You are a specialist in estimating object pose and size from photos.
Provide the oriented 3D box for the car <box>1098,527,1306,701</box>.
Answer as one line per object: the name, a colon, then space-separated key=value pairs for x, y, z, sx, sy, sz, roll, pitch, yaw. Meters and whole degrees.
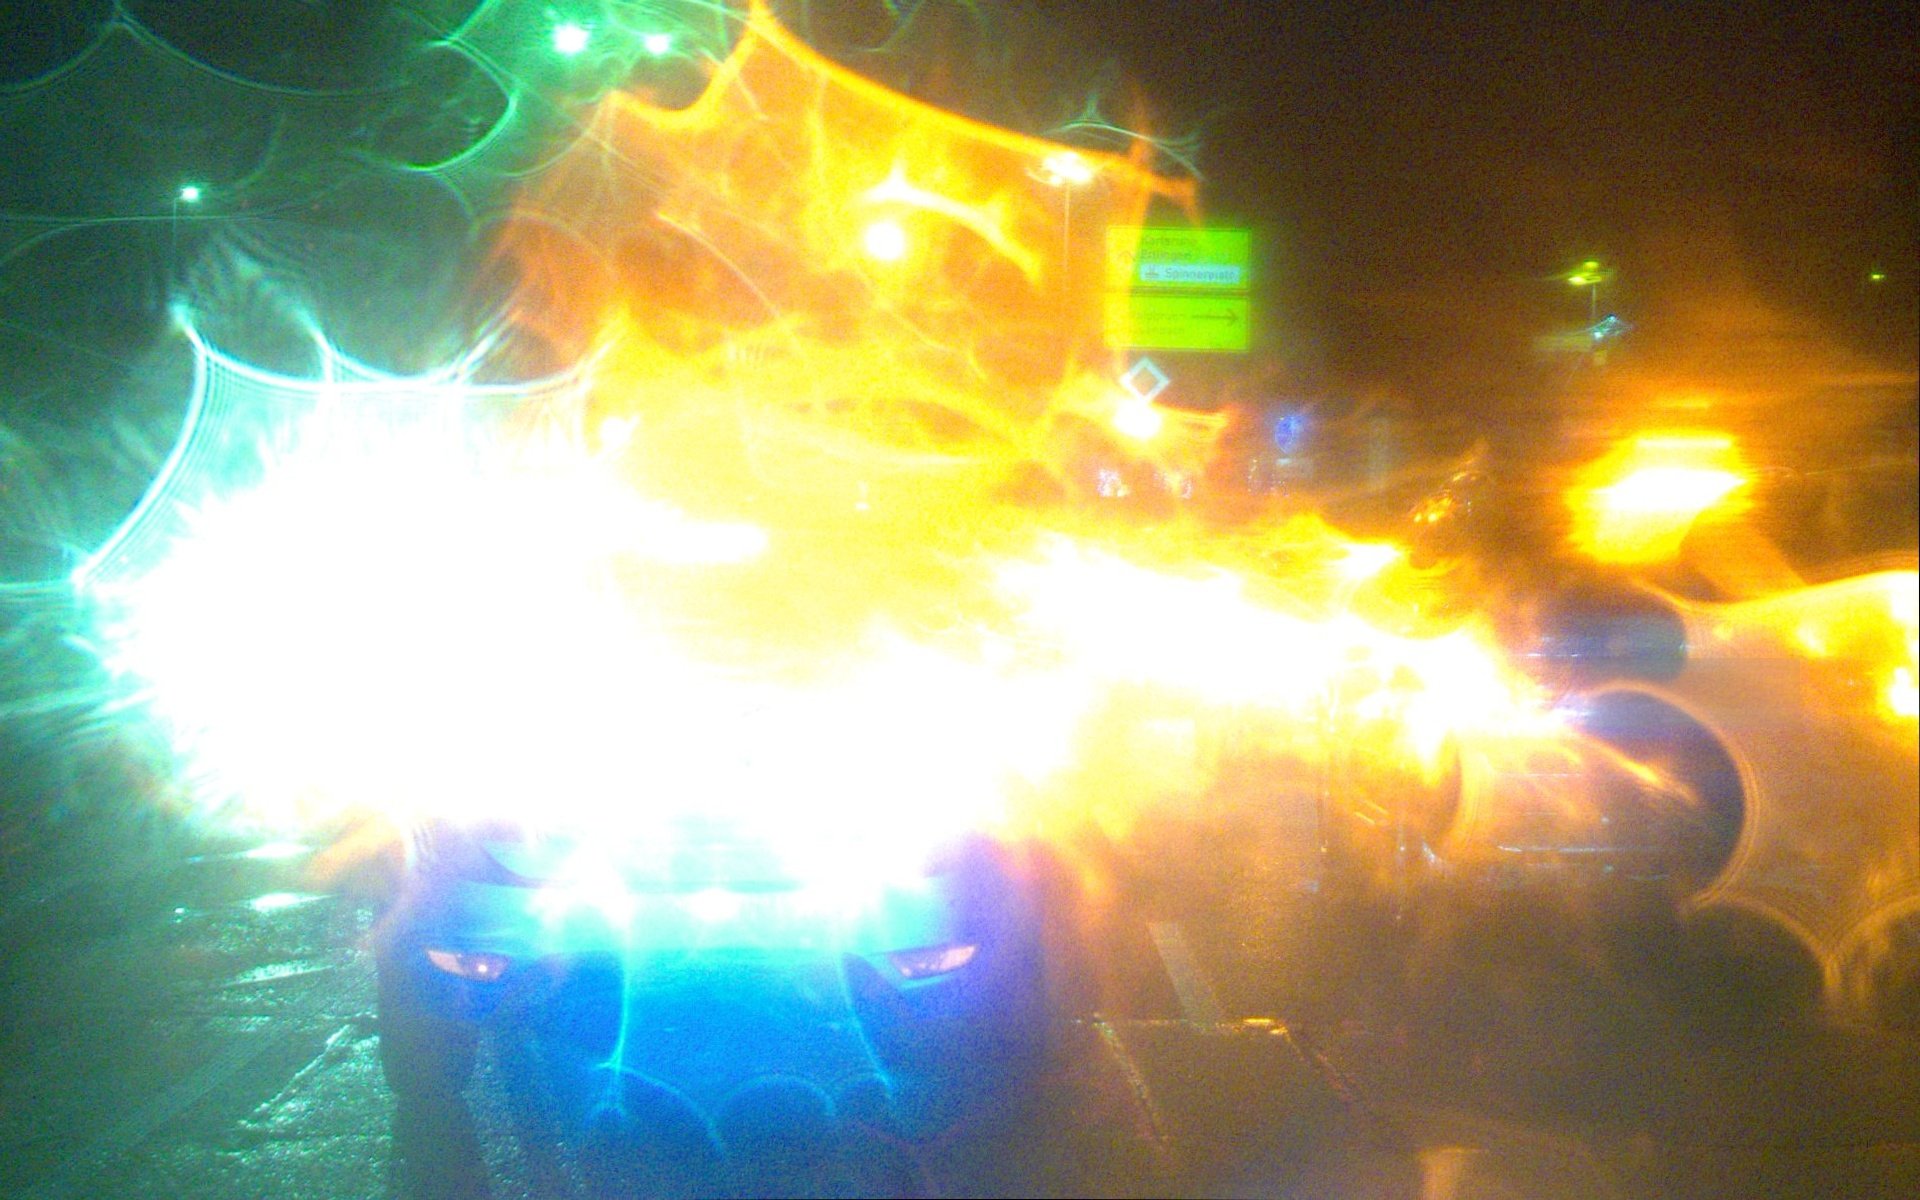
car: x=2.107 y=0.099 z=30.831 sx=1.663 sy=1.445 sz=4.050 roll=-1 pitch=1 yaw=1

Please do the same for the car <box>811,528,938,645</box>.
car: x=-1.321 y=-0.234 z=51.715 sx=1.708 sy=1.632 sz=3.731 roll=-1 pitch=1 yaw=-4

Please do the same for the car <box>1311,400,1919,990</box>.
car: x=2.451 y=0.260 z=13.607 sx=1.942 sy=1.965 sz=4.218 roll=0 pitch=1 yaw=4

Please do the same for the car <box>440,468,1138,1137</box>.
car: x=-0.438 y=0.472 z=10.330 sx=1.694 sy=1.624 sz=3.853 roll=0 pitch=1 yaw=-1

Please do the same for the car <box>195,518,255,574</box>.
car: x=-25.575 y=-1.894 z=119.773 sx=1.993 sy=1.905 sz=4.744 roll=0 pitch=1 yaw=-11

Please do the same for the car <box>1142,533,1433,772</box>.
car: x=2.132 y=0.283 z=23.367 sx=1.768 sy=1.445 sz=4.218 roll=0 pitch=1 yaw=3

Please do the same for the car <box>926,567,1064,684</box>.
car: x=0.415 y=0.295 z=44.348 sx=1.663 sy=1.445 sz=4.050 roll=0 pitch=0 yaw=-1

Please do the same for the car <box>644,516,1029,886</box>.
car: x=-0.564 y=0.416 z=17.476 sx=1.708 sy=1.632 sz=3.731 roll=-1 pitch=1 yaw=0

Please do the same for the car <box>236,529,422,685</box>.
car: x=-8.113 y=0.033 z=44.581 sx=1.993 sy=1.905 sz=4.744 roll=0 pitch=1 yaw=-6

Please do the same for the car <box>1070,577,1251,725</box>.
car: x=2.129 y=0.517 z=37.443 sx=1.663 sy=1.445 sz=4.050 roll=0 pitch=1 yaw=-1
